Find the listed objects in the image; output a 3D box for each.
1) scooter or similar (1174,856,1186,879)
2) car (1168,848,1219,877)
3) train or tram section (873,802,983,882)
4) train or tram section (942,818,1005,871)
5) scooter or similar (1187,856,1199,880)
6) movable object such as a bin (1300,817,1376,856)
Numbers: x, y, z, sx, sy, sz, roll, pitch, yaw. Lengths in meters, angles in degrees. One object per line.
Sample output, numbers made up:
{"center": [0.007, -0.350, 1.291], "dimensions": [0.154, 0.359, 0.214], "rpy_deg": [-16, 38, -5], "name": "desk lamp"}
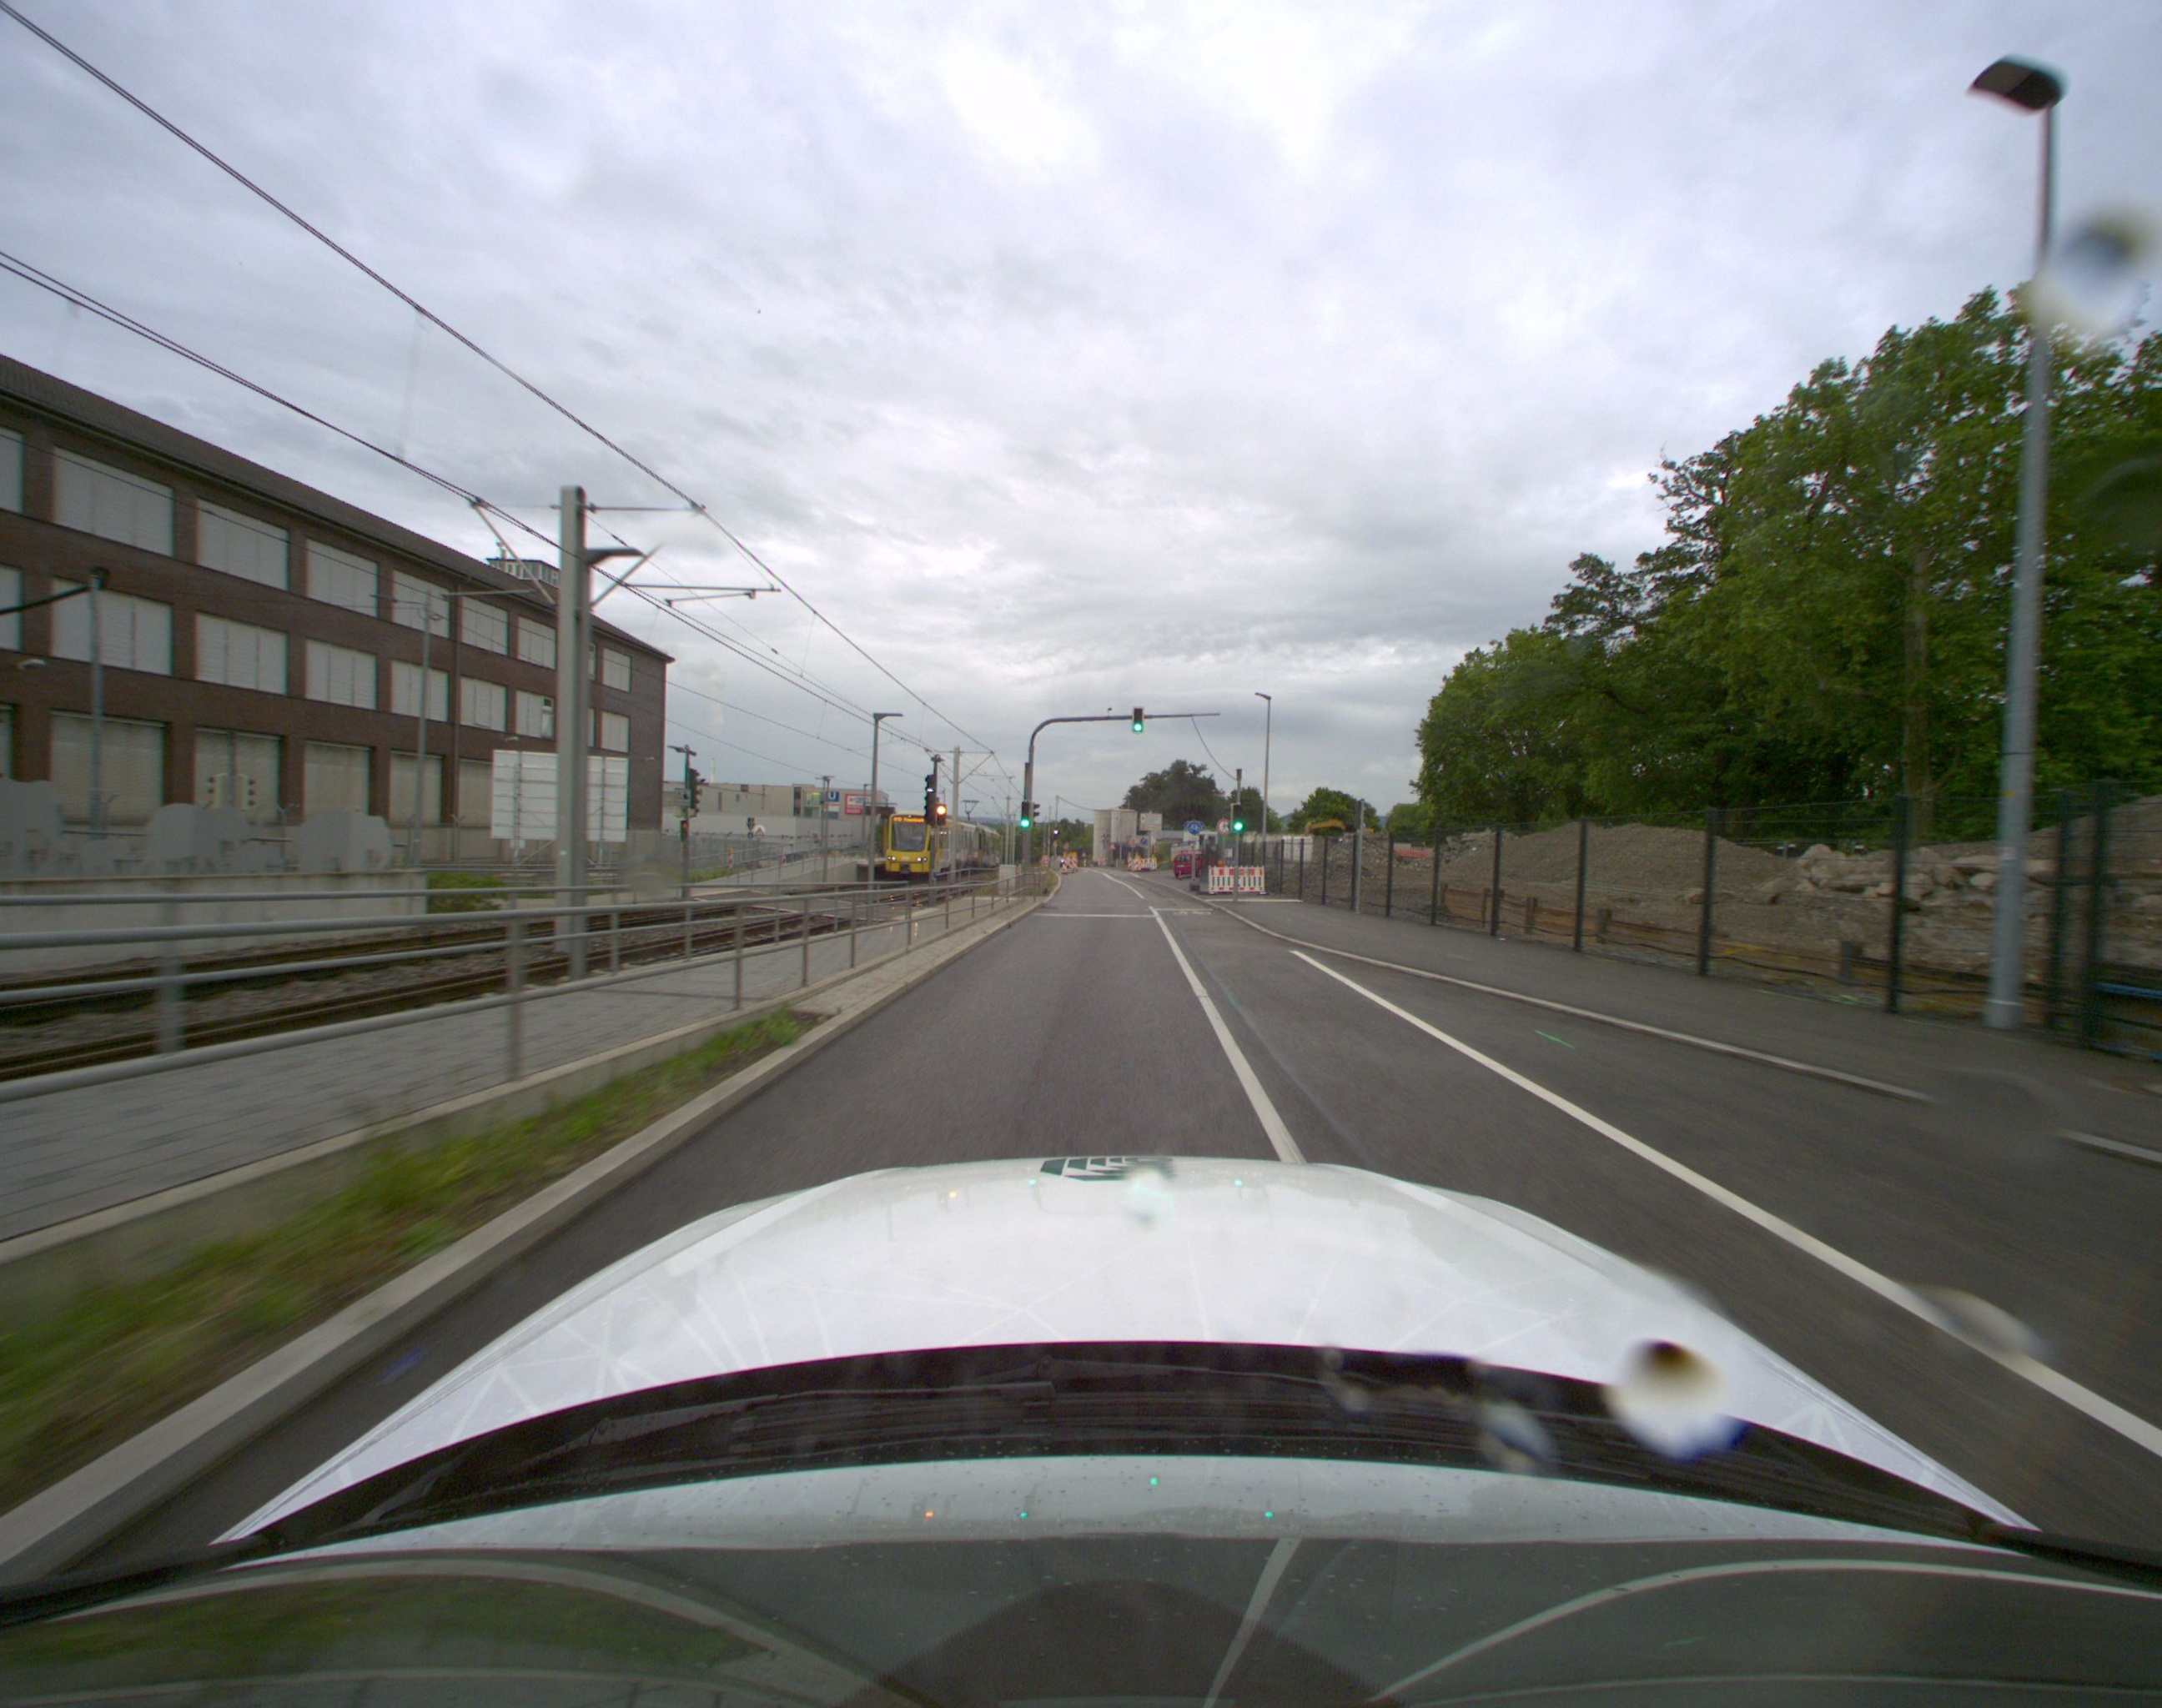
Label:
{"center": [5.879, 0.796, 48.332], "dimensions": [0.612, 1.351, 1.915], "rpy_deg": [1, 0, 5], "name": "scooter or similar"}
{"center": [7.497, 0.555, 53.807], "dimensions": [1.802, 1.794, 4.436], "rpy_deg": [1, 0, 30], "name": "car"}
{"center": [-8.867, -0.604, 50.855], "dimensions": [2.945, 3.886, 19.571], "rpy_deg": [2, 0, 0], "name": "train or tram section"}
{"center": [-8.911, -0.724, 70.289], "dimensions": [2.946, 3.886, 19.283], "rpy_deg": [2, 0, -1], "name": "train or tram section"}
{"center": [6.624, 0.826, 48.131], "dimensions": [0.612, 1.351, 1.915], "rpy_deg": [1, 0, 5], "name": "scooter or similar"}
{"center": [41.382, -2.795, 131.345], "dimensions": [11.172, 5.995, 3.498], "rpy_deg": [0, -1, 6], "name": "movable object such as a bin"}
